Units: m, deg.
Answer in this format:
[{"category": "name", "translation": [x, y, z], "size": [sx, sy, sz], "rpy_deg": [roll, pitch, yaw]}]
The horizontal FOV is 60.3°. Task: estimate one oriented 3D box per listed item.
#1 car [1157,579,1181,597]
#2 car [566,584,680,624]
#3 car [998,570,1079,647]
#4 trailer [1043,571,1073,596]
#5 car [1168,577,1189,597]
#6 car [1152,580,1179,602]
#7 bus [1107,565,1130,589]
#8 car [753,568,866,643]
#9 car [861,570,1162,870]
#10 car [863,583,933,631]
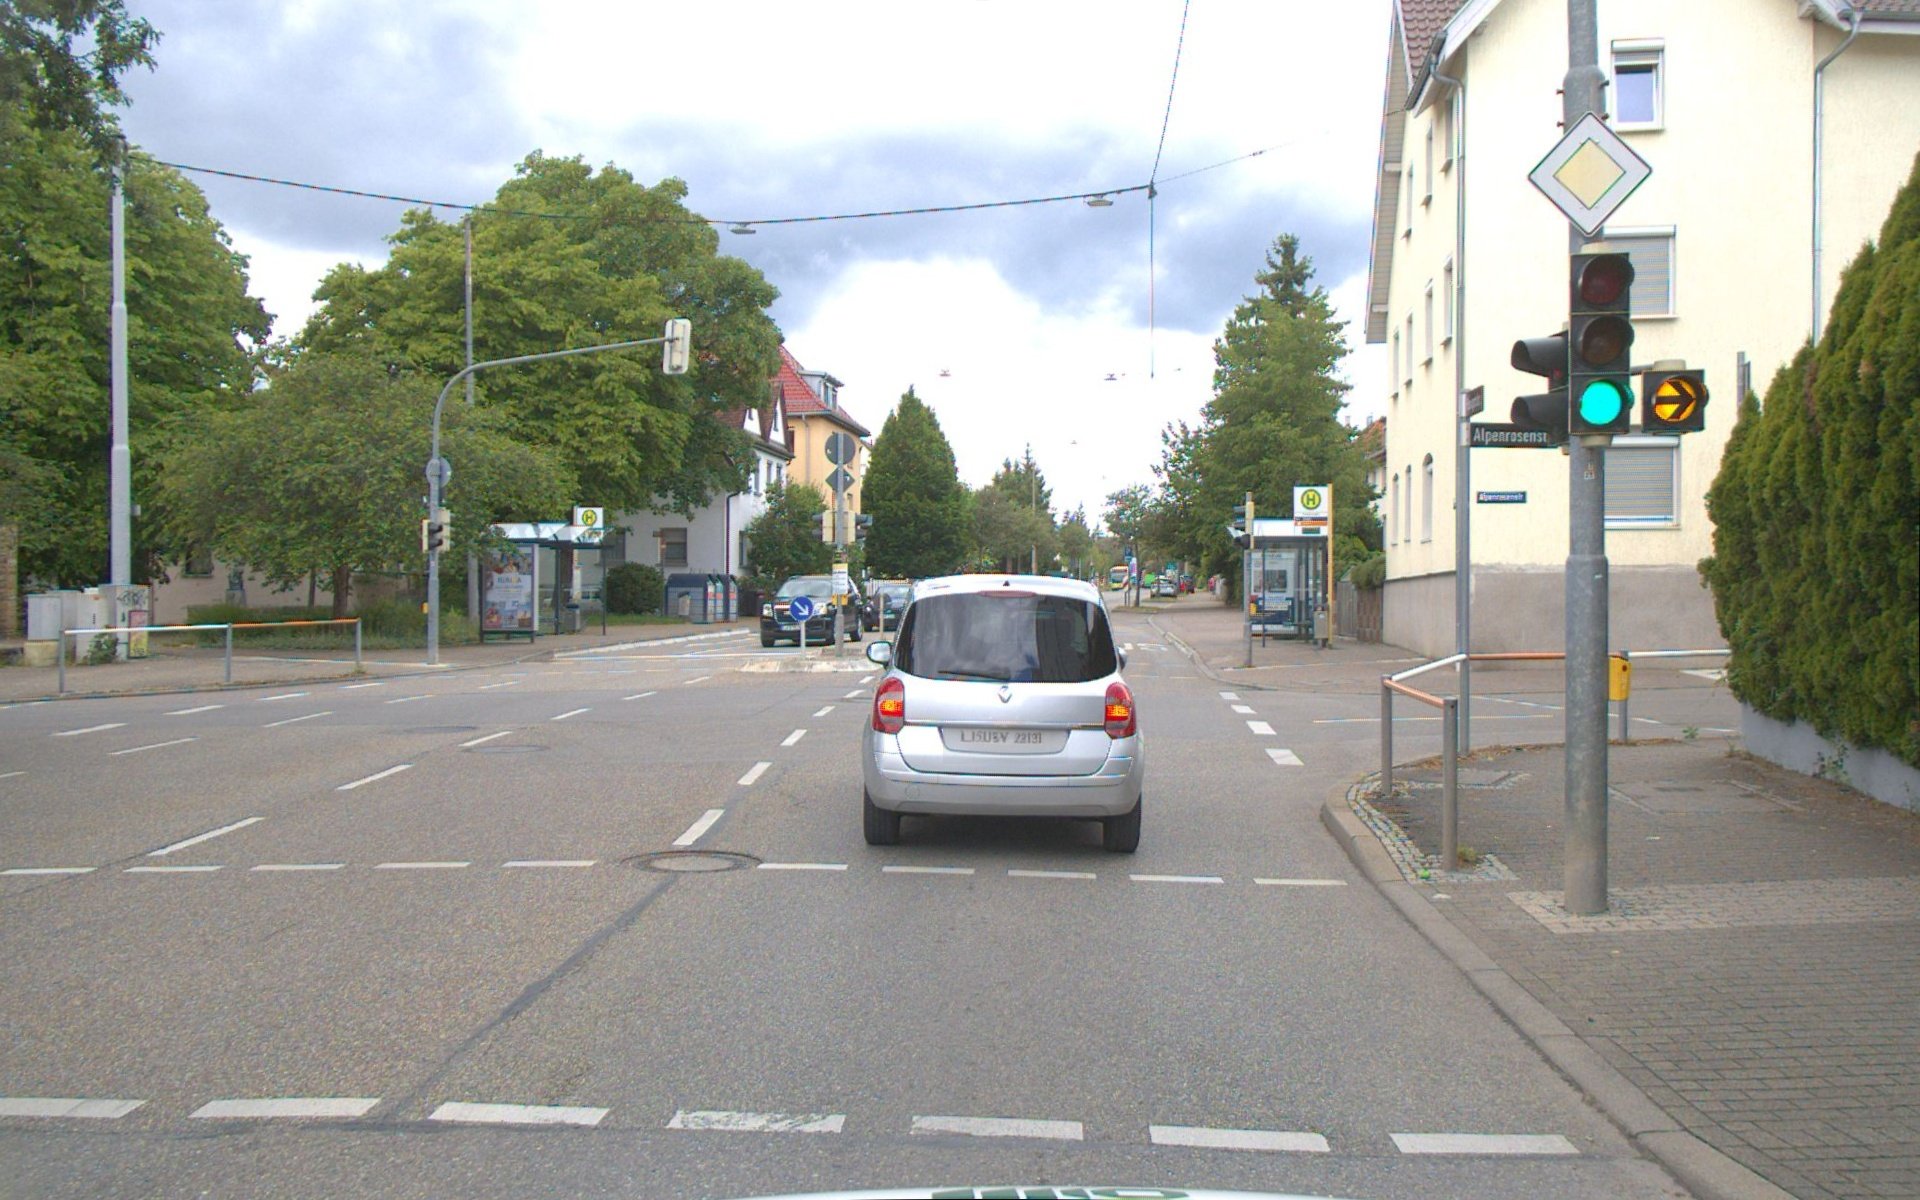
[{"category": "car", "translation": [16.430, -0.962, 129.961], "size": [1.627, 1.417, 3.671], "rpy_deg": [0, 1, 11]}, {"category": "car", "translation": [-12.938, 0.150, 63.585], "size": [3.902, 1.355, 1.723], "rpy_deg": [-2, -1, 6]}, {"category": "car", "translation": [1.820, 0.188, 38.523], "size": [1.791, 1.705, 3.575], "rpy_deg": [0, 0, 2]}, {"category": "trailer", "translation": [9.047, -1.499, 152.262], "size": [2.263, 2.123, 5.877], "rpy_deg": [1, 0, 7]}, {"category": "car", "translation": [17.781, -1.044, 134.745], "size": [1.627, 1.591, 4.102], "rpy_deg": [0, 1, 6]}, {"category": "car", "translation": [13.840, -0.593, 111.207], "size": [1.615, 1.406, 4.003], "rpy_deg": [1, 0, 9]}, {"category": "bus", "translation": [21.754, -3.097, 226.629], "size": [2.576, 3.140, 12.079], "rpy_deg": [-2, 0, 7]}, {"category": "car", "translation": [-3.629, 0.151, 40.660], "size": [1.720, 1.663, 4.598], "rpy_deg": [-2, -1, 8]}, {"category": "car", "translation": [0.309, 0.658, 10.967], "size": [1.596, 1.584, 4.000], "rpy_deg": [1, 0, 1]}, {"category": "car", "translation": [-1.898, 0.217, 52.027], "size": [1.530, 1.445, 4.133], "rpy_deg": [0, -1, 7]}]
